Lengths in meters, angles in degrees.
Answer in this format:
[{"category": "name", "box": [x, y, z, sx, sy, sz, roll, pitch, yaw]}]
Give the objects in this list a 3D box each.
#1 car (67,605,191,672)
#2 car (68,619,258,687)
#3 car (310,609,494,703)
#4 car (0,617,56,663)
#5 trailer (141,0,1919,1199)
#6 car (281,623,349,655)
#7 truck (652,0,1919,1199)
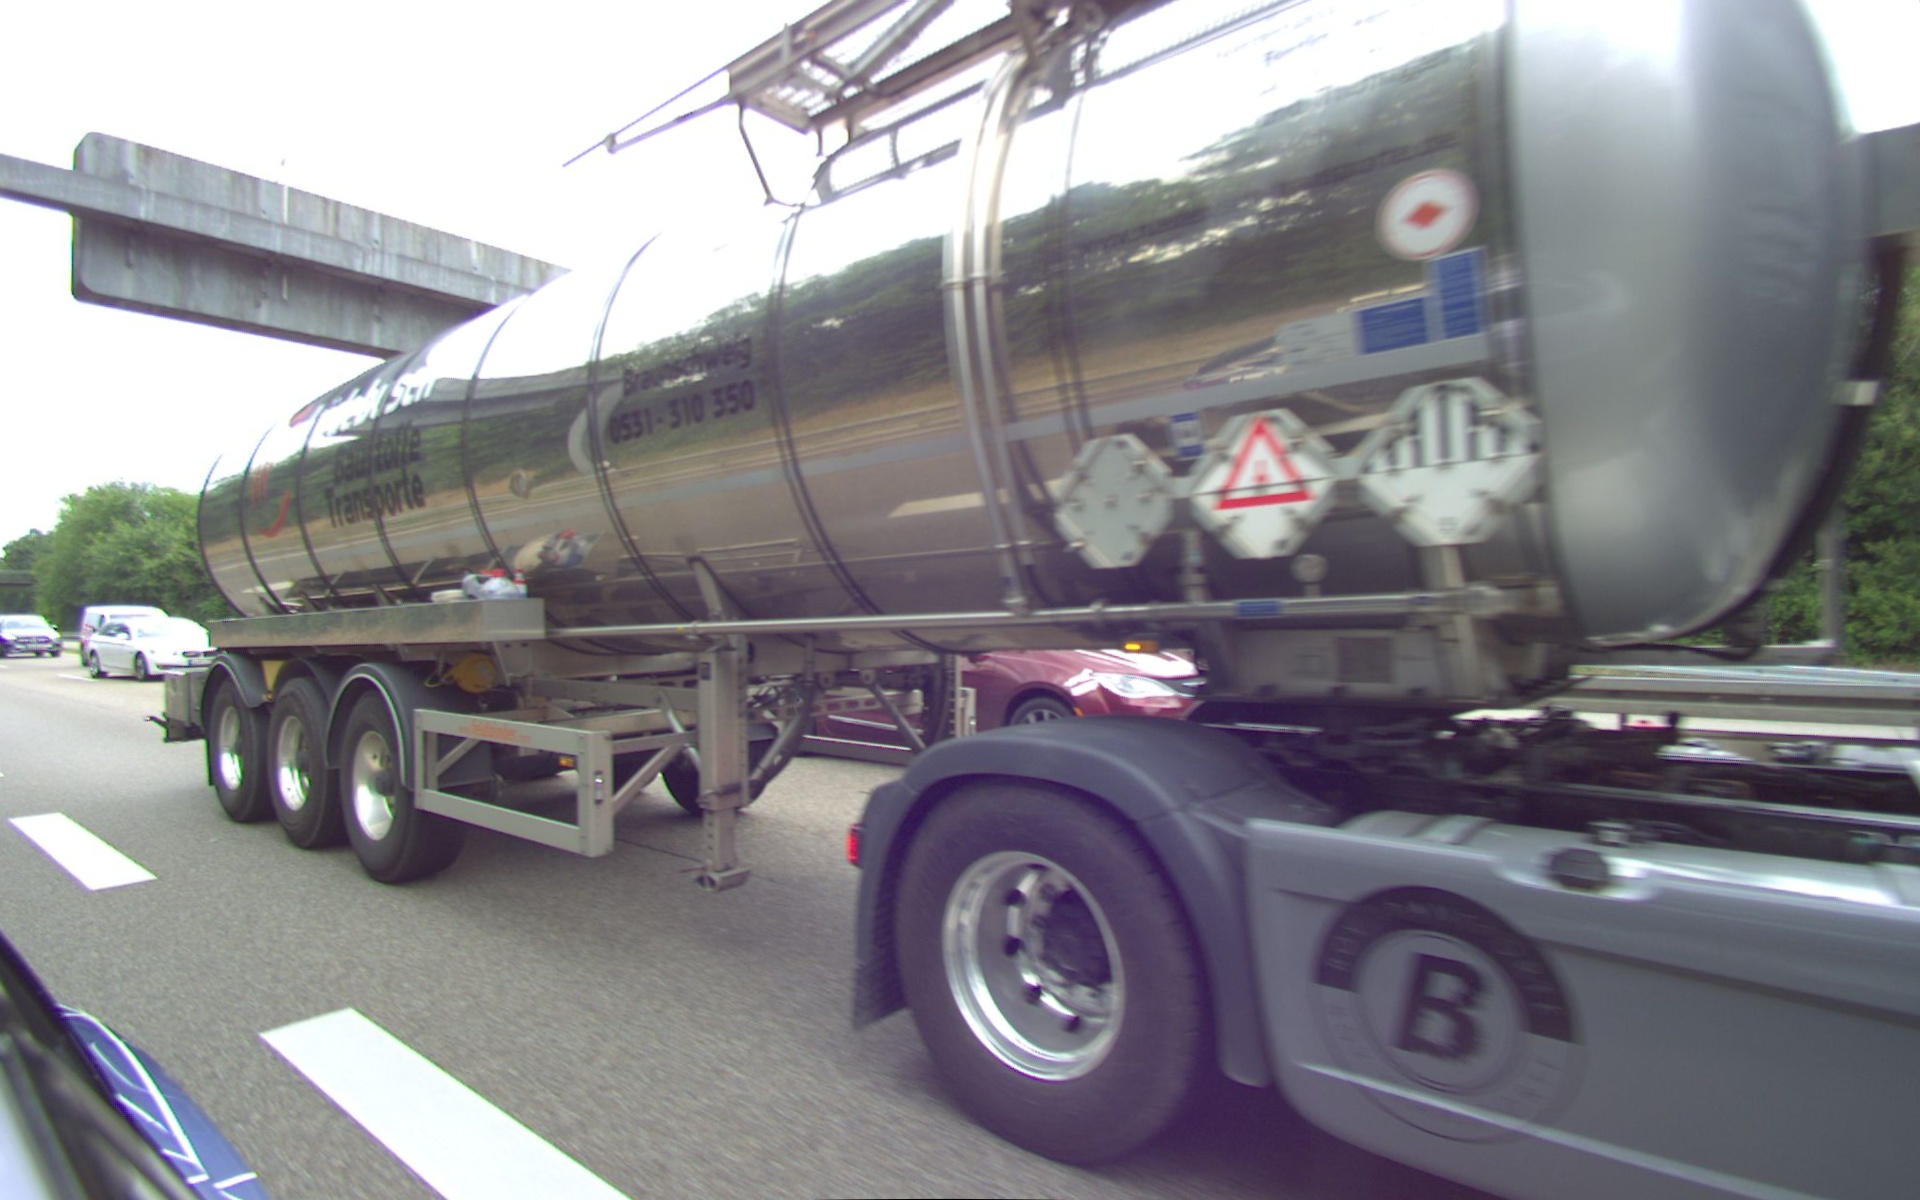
[{"category": "car", "box": [-25.119, 1.130, 30.534, 5.000, 1.864, 1.829, -1, -2, 38]}, {"category": "car", "box": [-19.242, 1.211, 24.365, 5.243, 1.475, 2.041, -1, -1, 33]}, {"category": "car", "box": [-10.256, 0.950, 18.484, 4.087, 1.535, 1.610, -1, -1, 40]}, {"category": "car", "box": [-36.427, 1.515, 39.018, 3.997, 1.664, 1.825, -1, -1, 40]}, {"category": "trailer", "box": [-1.564, -0.520, 5.753, 10.976, 3.937, 2.656, -1, -1, 39]}, {"category": "car", "box": [-31.856, 1.918, 49.933, 3.825, 1.507, 1.559, -1, -1, 36]}, {"category": "truck", "box": [2.428, -0.607, 2.380, 6.928, 3.937, 2.656, -1, -1, 39]}]
